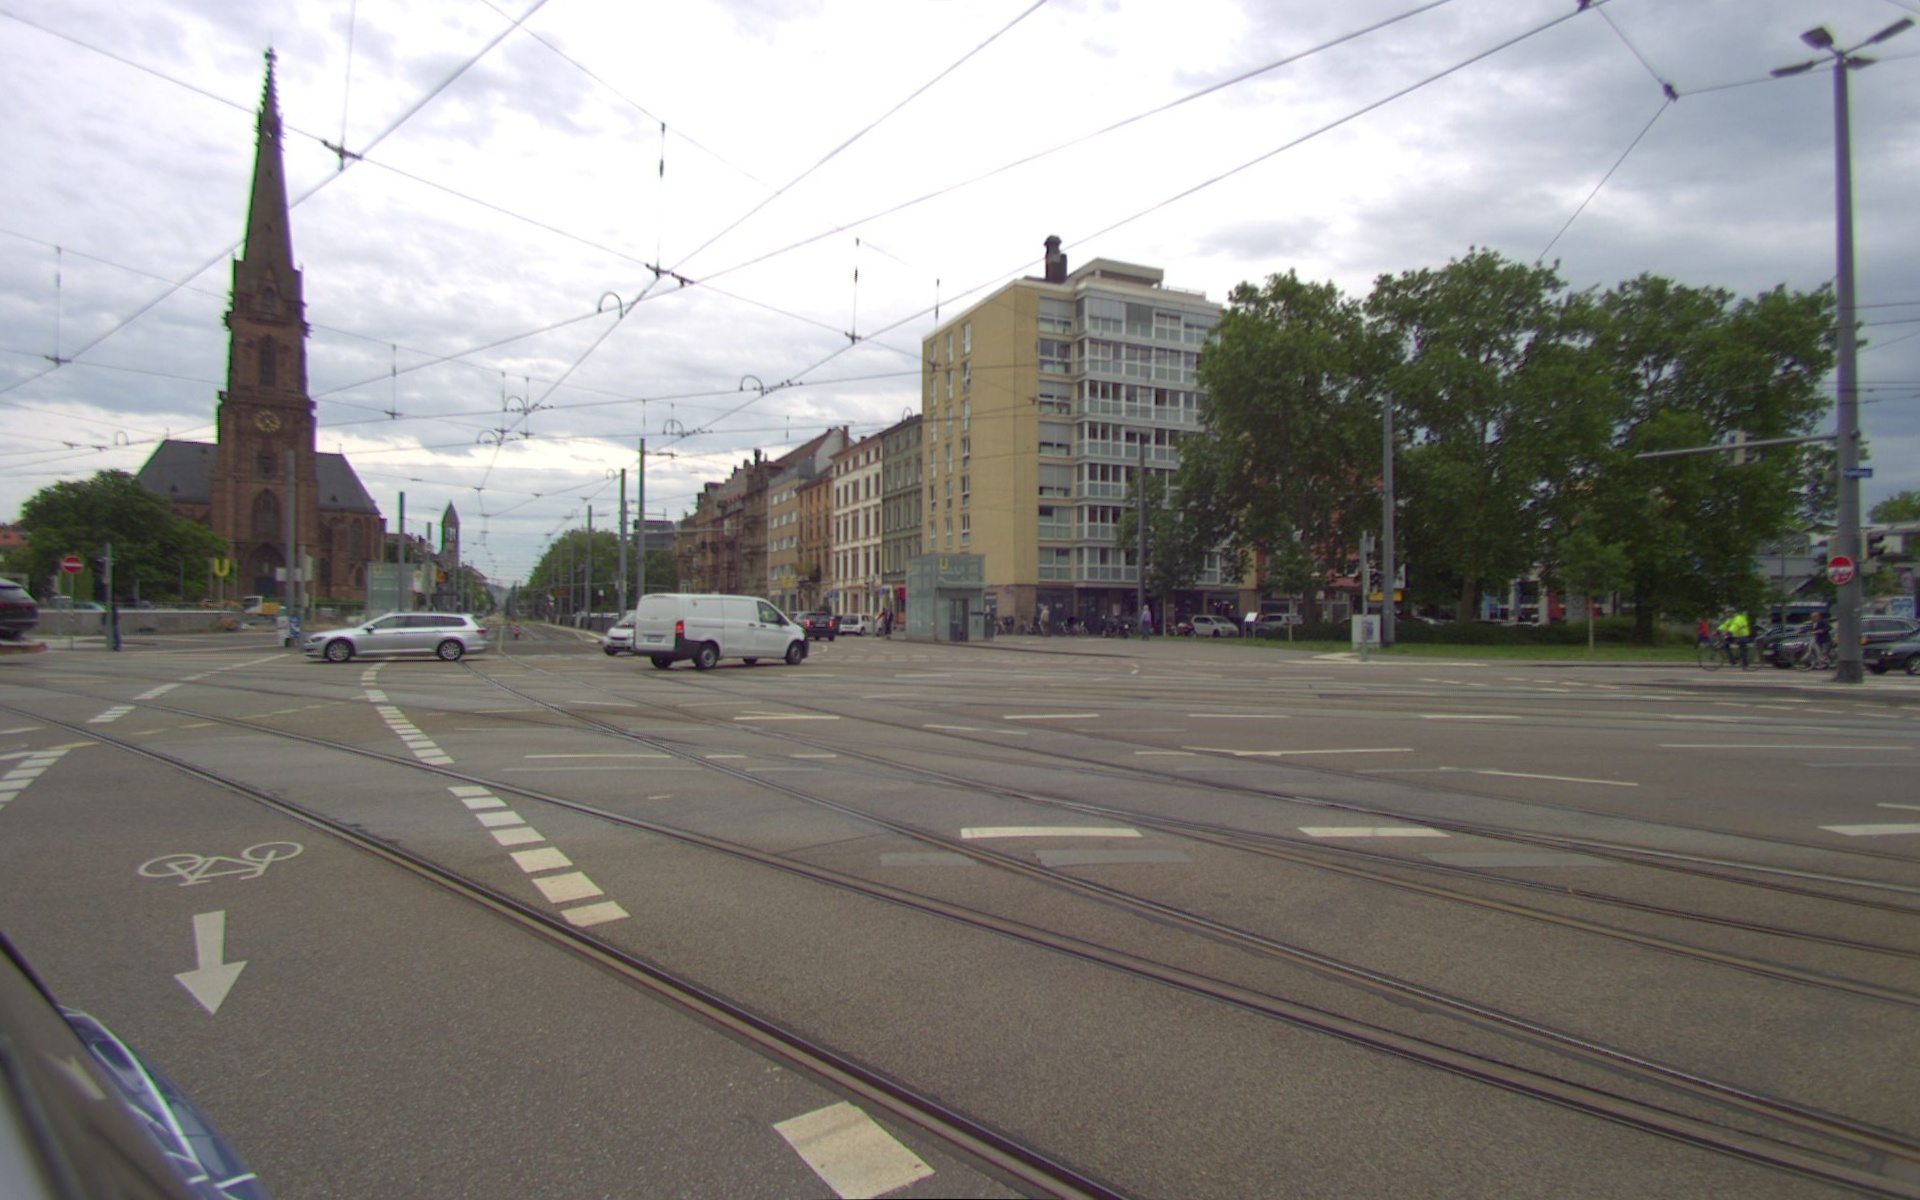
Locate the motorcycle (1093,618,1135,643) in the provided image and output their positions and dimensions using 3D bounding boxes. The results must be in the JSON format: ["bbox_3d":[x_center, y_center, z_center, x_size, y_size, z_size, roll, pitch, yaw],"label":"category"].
[{"bbox_3d":[7.940,1.572,52.324,0.849,1.187,2.556,1,0,-24],"label":"motorcycle"}]

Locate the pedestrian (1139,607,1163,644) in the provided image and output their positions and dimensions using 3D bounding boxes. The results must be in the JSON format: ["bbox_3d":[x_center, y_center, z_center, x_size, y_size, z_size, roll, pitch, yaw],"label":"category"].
[{"bbox_3d":[9.184,1.228,48.743,0.695,1.732,0.917,1,0,-37],"label":"pedestrian"}]

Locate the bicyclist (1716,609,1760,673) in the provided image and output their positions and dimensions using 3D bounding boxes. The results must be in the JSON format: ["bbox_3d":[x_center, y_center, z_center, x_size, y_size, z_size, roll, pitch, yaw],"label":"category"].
[{"bbox_3d":[22.492,1.180,29.271,0.789,1.817,0.627,0,-1,12],"label":"bicyclist"}]

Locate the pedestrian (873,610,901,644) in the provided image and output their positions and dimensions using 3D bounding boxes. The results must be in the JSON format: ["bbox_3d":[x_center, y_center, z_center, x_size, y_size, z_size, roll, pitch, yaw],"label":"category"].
[{"bbox_3d":[-3.875,1.450,53.858,1.160,1.798,1.044,1,-1,-29],"label":"pedestrian"}]

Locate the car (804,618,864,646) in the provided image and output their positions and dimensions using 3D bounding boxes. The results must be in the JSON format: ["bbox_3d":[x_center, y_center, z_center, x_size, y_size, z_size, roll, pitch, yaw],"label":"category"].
[{"bbox_3d":[-8.519,2.118,68.605,2.074,1.768,3.958,1,0,31],"label":"car"}]

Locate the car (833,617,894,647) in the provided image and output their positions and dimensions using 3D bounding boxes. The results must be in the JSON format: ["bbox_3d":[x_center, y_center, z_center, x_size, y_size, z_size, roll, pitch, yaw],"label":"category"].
[{"bbox_3d":[-6.295,2.074,66.611,2.074,1.768,3.958,1,0,31],"label":"car"}]

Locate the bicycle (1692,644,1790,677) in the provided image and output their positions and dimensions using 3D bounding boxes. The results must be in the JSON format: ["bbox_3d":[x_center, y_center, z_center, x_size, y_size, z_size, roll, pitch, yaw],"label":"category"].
[{"bbox_3d":[22.554,1.743,29.264,2.200,0.937,0.518,-1,-1,12],"label":"bicycle"}]

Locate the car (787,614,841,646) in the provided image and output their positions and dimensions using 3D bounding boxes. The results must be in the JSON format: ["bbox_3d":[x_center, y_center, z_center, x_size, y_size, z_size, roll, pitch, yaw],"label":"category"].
[{"bbox_3d":[-7.220,1.448,49.870,1.744,1.480,4.013,1,-1,-22],"label":"car"}]

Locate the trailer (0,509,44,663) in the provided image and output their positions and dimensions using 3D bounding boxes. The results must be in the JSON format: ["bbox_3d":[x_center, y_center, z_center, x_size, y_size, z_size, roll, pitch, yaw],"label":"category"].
[{"bbox_3d":[-29.525,-0.407,25.425,9.395,4.003,3.004,1,0,-12],"label":"trailer"}]

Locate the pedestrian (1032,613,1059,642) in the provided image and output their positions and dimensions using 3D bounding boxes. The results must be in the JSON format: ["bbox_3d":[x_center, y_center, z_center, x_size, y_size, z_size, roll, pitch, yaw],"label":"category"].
[{"bbox_3d":[4.961,1.594,58.817,1.023,1.652,1.336,1,-1,-28],"label":"pedestrian"}]

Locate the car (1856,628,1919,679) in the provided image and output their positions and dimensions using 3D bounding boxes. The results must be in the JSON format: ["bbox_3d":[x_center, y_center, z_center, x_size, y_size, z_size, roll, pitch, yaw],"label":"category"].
[{"bbox_3d":[25.975,1.379,26.274,3.693,1.256,1.688,0,-1,8],"label":"car"}]

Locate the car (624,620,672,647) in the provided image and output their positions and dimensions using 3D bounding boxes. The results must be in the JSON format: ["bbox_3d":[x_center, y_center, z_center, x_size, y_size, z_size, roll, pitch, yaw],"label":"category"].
[{"bbox_3d":[-18.325,1.937,59.346,1.965,1.453,4.013,1,-1,-27],"label":"car"}]

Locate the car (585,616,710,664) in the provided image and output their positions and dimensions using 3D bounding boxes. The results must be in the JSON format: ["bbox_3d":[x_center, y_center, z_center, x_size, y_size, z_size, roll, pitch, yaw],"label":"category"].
[{"bbox_3d":[-10.573,1.302,34.391,1.997,1.504,3.575,0,-1,38],"label":"car"}]

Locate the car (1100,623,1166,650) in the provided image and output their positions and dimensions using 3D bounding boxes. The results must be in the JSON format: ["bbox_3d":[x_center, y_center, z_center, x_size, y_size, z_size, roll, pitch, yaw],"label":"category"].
[{"bbox_3d":[10.574,2.217,62.208,1.965,1.564,4.013,1,-1,-28],"label":"car"}]

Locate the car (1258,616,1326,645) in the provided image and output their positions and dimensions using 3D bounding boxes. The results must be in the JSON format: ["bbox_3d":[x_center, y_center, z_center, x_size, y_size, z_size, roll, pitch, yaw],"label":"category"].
[{"bbox_3d":[21.744,1.978,66.414,1.966,1.719,4.013,1,0,-29],"label":"car"}]

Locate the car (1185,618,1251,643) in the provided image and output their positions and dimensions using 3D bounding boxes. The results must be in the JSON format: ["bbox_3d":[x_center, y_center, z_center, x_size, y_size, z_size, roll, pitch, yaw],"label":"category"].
[{"bbox_3d":[16.804,1.984,66.047,1.965,1.564,4.013,1,-1,-28],"label":"car"}]

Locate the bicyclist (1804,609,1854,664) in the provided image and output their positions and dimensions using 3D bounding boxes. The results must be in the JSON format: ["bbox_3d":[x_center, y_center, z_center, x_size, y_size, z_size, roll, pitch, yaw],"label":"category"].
[{"bbox_3d":[24.697,1.037,28.761,0.848,1.519,0.565,-1,-1,12],"label":"bicyclist"}]

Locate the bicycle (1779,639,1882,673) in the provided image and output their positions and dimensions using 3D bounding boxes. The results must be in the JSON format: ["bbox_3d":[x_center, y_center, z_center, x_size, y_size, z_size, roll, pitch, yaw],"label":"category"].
[{"bbox_3d":[24.708,1.577,28.757,2.200,0.933,0.518,-1,-1,12],"label":"bicycle"}]

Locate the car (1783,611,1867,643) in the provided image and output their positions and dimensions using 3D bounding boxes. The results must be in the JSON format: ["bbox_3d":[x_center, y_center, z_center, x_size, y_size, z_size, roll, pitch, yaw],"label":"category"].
[{"bbox_3d":[57.465,1.798,67.258,3.940,2.029,2.002,1,0,-4],"label":"car"}]

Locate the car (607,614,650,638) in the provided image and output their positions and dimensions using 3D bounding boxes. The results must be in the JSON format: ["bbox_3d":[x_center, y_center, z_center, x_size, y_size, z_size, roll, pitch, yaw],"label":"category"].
[{"bbox_3d":[-21.464,1.662,65.429,1.965,1.541,4.013,1,-1,-28],"label":"car"}]

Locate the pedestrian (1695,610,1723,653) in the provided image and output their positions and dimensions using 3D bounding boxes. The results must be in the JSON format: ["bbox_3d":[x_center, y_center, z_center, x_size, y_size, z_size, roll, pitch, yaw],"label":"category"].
[{"bbox_3d":[34.380,1.436,46.471,0.856,1.914,0.704,0,0,21],"label":"pedestrian"}]

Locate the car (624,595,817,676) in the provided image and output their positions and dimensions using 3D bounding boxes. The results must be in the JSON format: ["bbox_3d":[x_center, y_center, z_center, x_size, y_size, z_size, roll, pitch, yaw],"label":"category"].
[{"bbox_3d":[-6.169,0.857,26.695,1.918,1.896,5.031,1,0,33],"label":"car"}]

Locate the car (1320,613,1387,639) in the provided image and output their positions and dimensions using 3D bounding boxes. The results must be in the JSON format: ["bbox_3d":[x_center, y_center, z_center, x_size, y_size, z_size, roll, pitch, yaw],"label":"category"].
[{"bbox_3d":[27.453,1.774,70.731,1.966,1.719,4.013,1,0,-29],"label":"car"}]

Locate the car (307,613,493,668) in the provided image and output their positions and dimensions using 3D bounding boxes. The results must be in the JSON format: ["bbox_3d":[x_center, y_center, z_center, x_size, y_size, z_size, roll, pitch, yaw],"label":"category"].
[{"bbox_3d":[-16.302,1.152,29.555,4.599,1.504,2.006,1,-2,-32],"label":"car"}]
